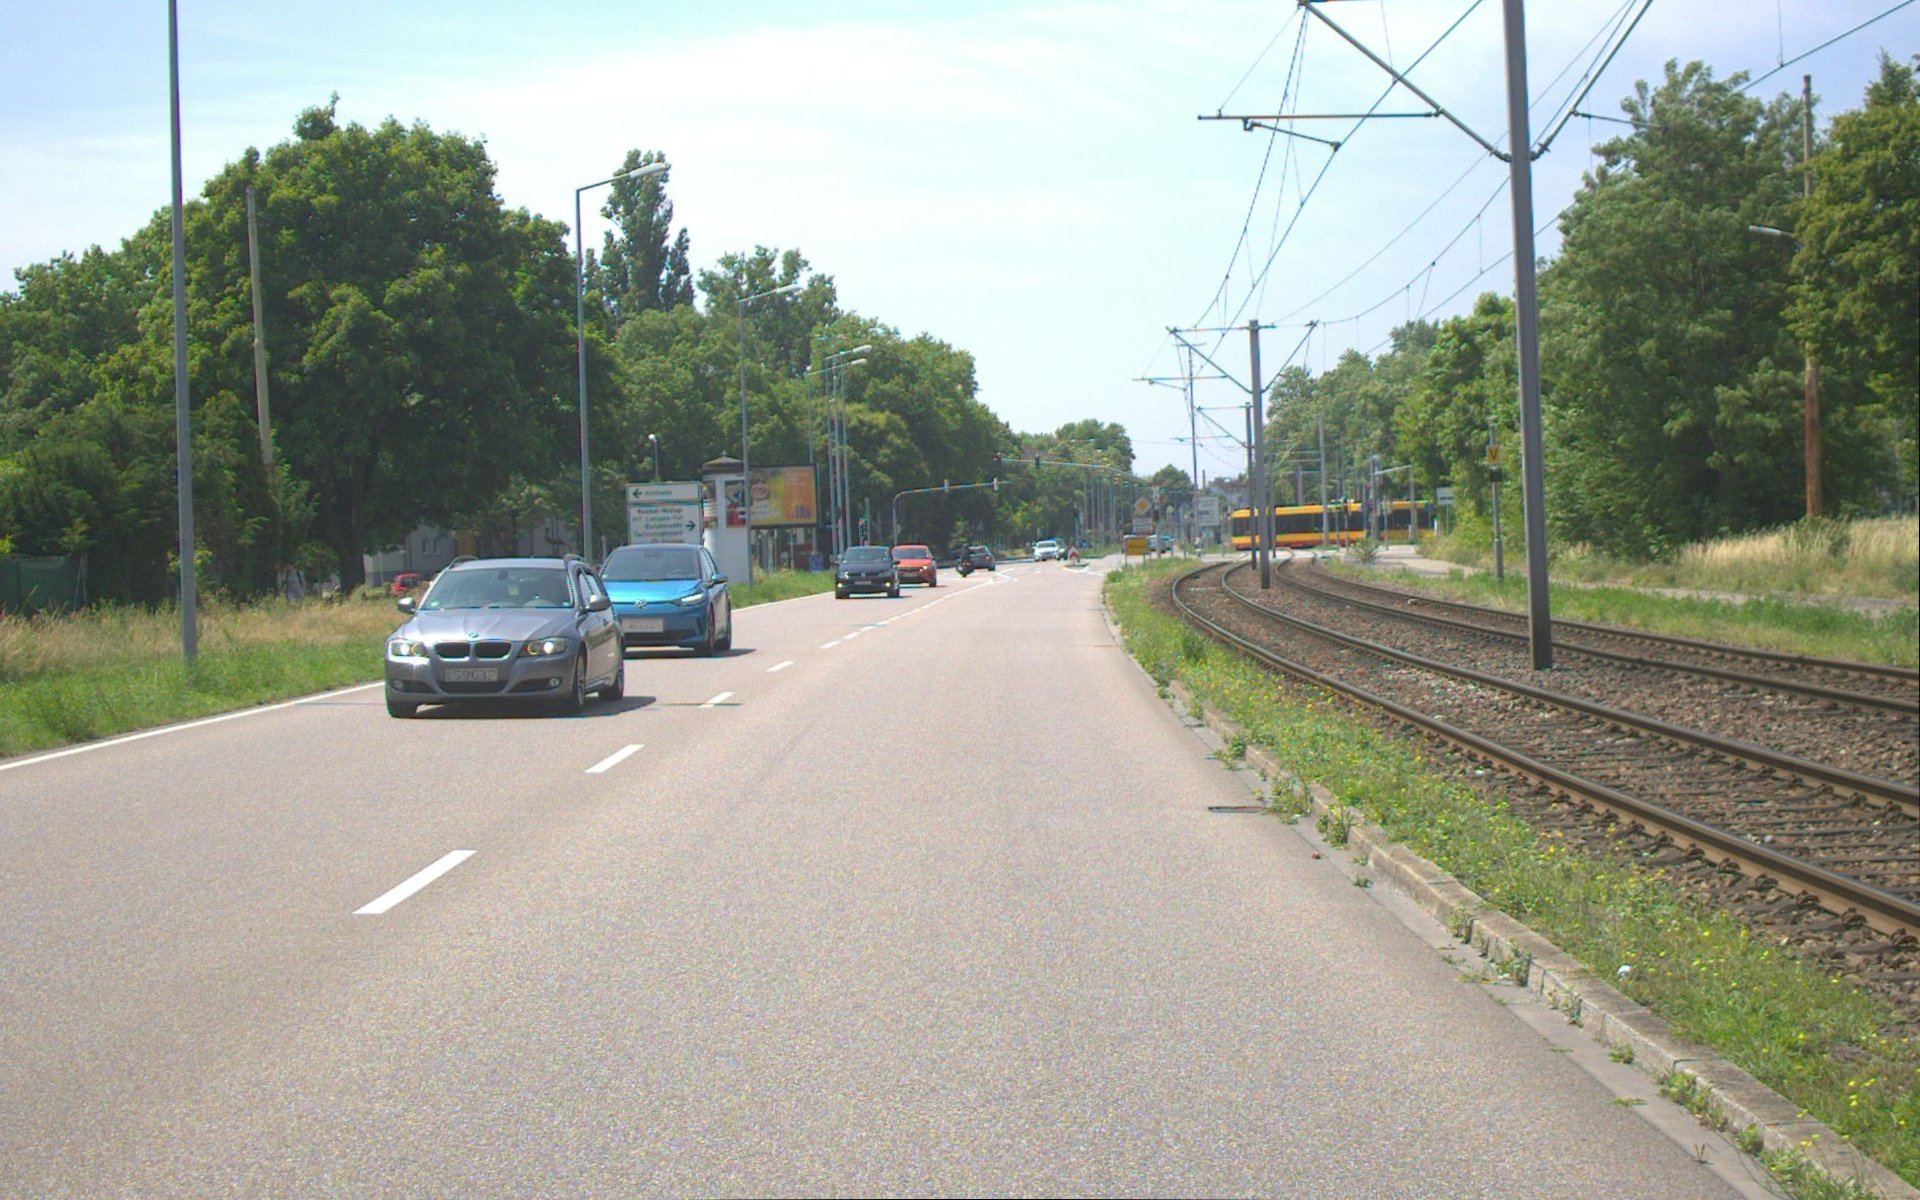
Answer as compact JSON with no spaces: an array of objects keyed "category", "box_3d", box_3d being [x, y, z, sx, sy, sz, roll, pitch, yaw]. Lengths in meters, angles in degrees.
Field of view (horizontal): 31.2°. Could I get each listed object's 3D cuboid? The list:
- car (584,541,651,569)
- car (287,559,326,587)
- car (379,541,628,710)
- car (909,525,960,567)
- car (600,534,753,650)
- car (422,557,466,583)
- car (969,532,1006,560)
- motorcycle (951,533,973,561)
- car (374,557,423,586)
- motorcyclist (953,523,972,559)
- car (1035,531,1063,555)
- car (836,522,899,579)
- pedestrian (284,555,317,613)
[{"category":"car","box_3d":[-24.136,-3.191,242.281,1.790,1.762,4.537,-1,1,44]},{"category":"car","box_3d":[-40.468,-1.691,212.791,1.845,1.705,4.001,-1,1,-19]},{"category":"car","box_3d":[-4.155,0.185,31.859,1.757,1.418,4.324,-1,1,-1]},{"category":"car","box_3d":[-0.889,-1.879,118.186,1.679,1.394,4.000,-1,1,-1]},{"category":"car","box_3d":[-3.889,-0.144,47.766,1.815,1.500,4.000,-1,1,-1]},{"category":"car","box_3d":[-32.223,-1.890,214.545,1.704,1.586,4.001,-2,1,-23]},{"category":"car","box_3d":[1.529,-2.995,190.307,1.906,1.493,4.630,-1,1,2]},{"category":"motorcycle","box_3d":[0.096,-2.451,158.617,0.847,1.251,2.449,-1,1,3]},{"category":"car","box_3d":[-34.967,-1.753,213.880,1.846,1.662,4.000,-3,1,-26]},{"category":"motorcyclist","box_3d":[0.123,-2.723,158.762,0.790,1.637,1.211,-1,1,3]},{"category":"car","box_3d":[6.444,-4.110,248.204,1.785,1.623,3.865,-2,1,4]},{"category":"car","box_3d":[-2.579,-1.408,96.701,1.684,1.564,3.968,-1,1,-1]},{"category":"pedestrian","box_3d":[-15.555,-0.375,81.075,0.581,1.350,0.798,-1,1,1]}]
